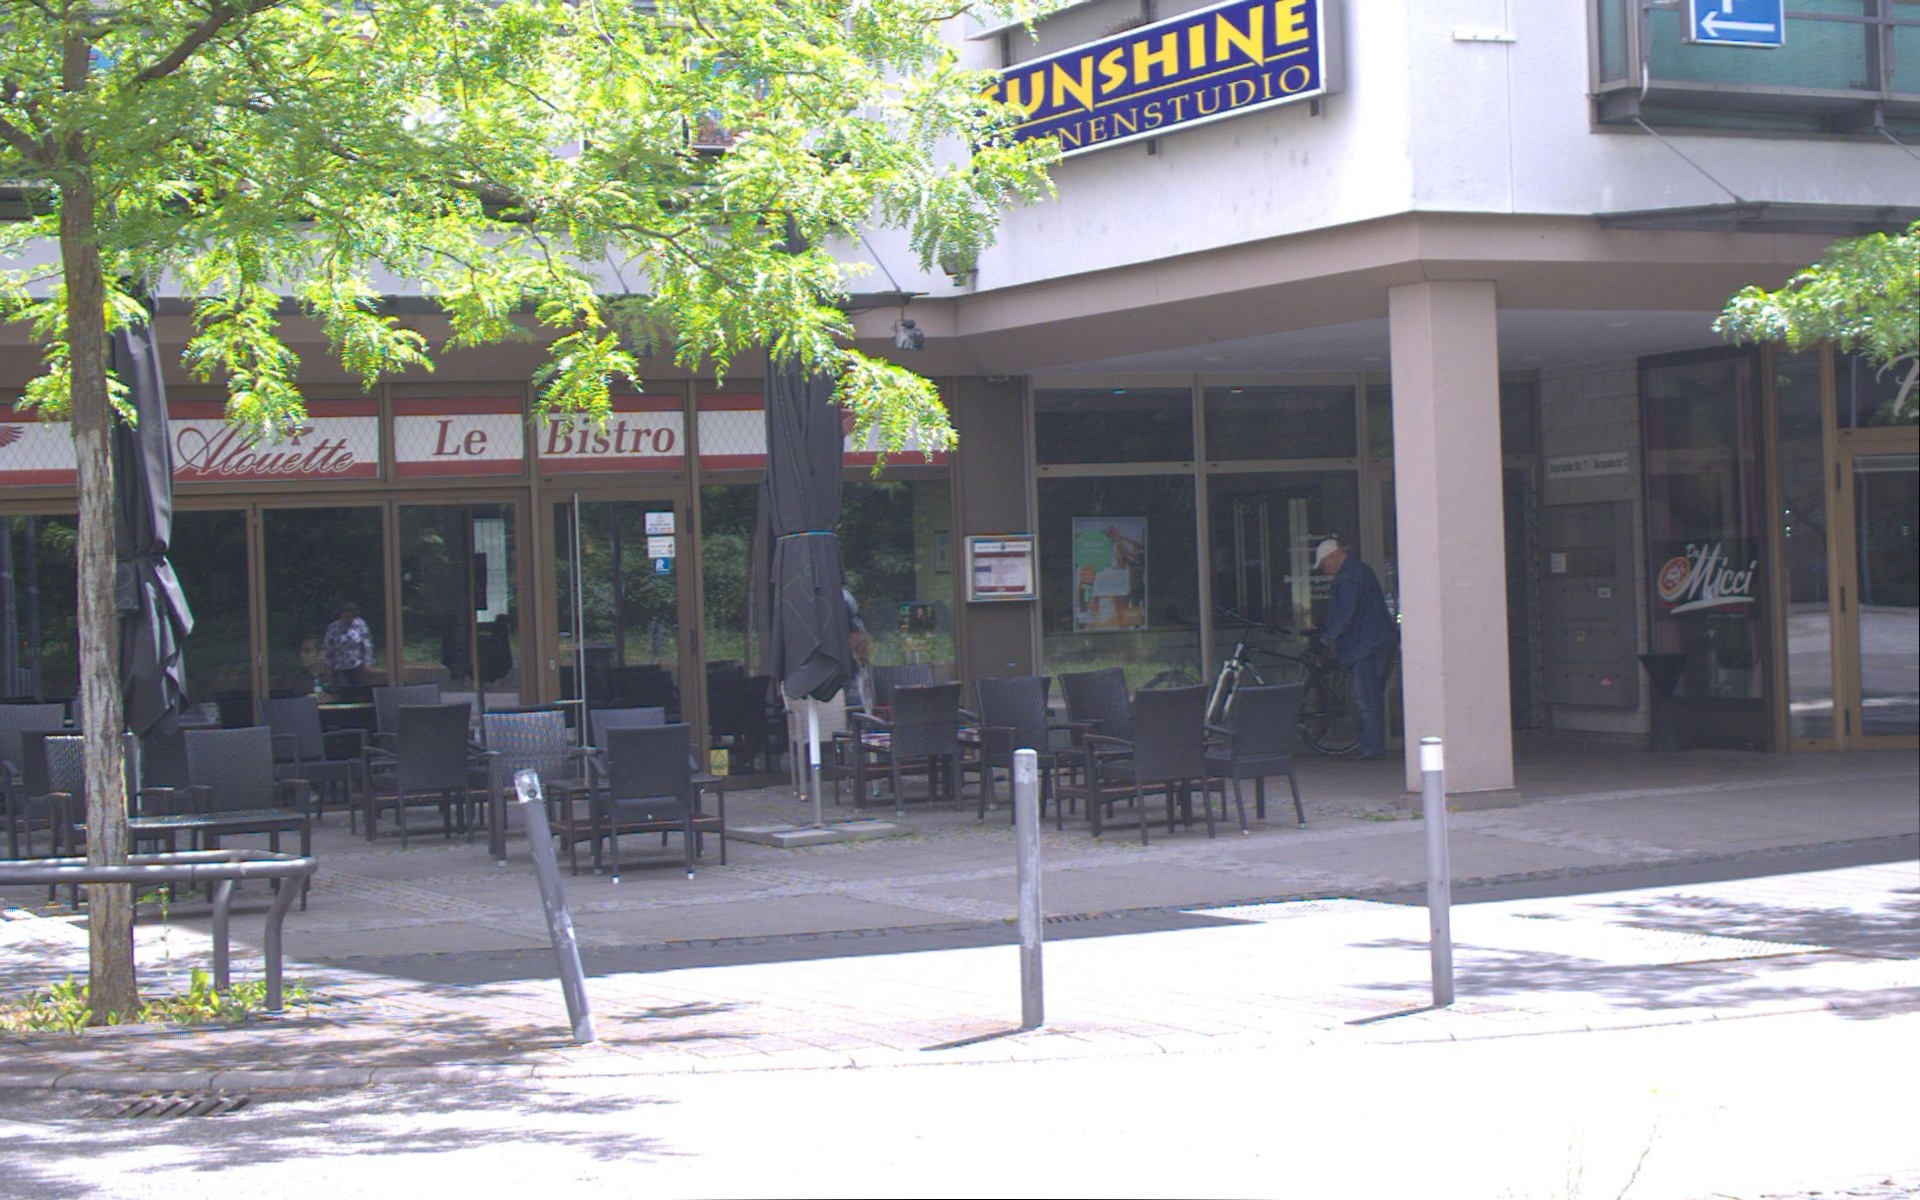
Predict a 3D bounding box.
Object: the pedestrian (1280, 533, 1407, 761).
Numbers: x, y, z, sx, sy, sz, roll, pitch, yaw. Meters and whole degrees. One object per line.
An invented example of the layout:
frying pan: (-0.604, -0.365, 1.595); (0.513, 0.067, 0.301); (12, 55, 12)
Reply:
pedestrian: (2.862, 0.339, 25.681); (0.695, 1.669, 0.617); (-1, 1, -31)

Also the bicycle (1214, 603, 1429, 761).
bicycle: (2.706, 0.611, 25.704); (1.539, 1.164, 0.496); (0, -1, 14)
